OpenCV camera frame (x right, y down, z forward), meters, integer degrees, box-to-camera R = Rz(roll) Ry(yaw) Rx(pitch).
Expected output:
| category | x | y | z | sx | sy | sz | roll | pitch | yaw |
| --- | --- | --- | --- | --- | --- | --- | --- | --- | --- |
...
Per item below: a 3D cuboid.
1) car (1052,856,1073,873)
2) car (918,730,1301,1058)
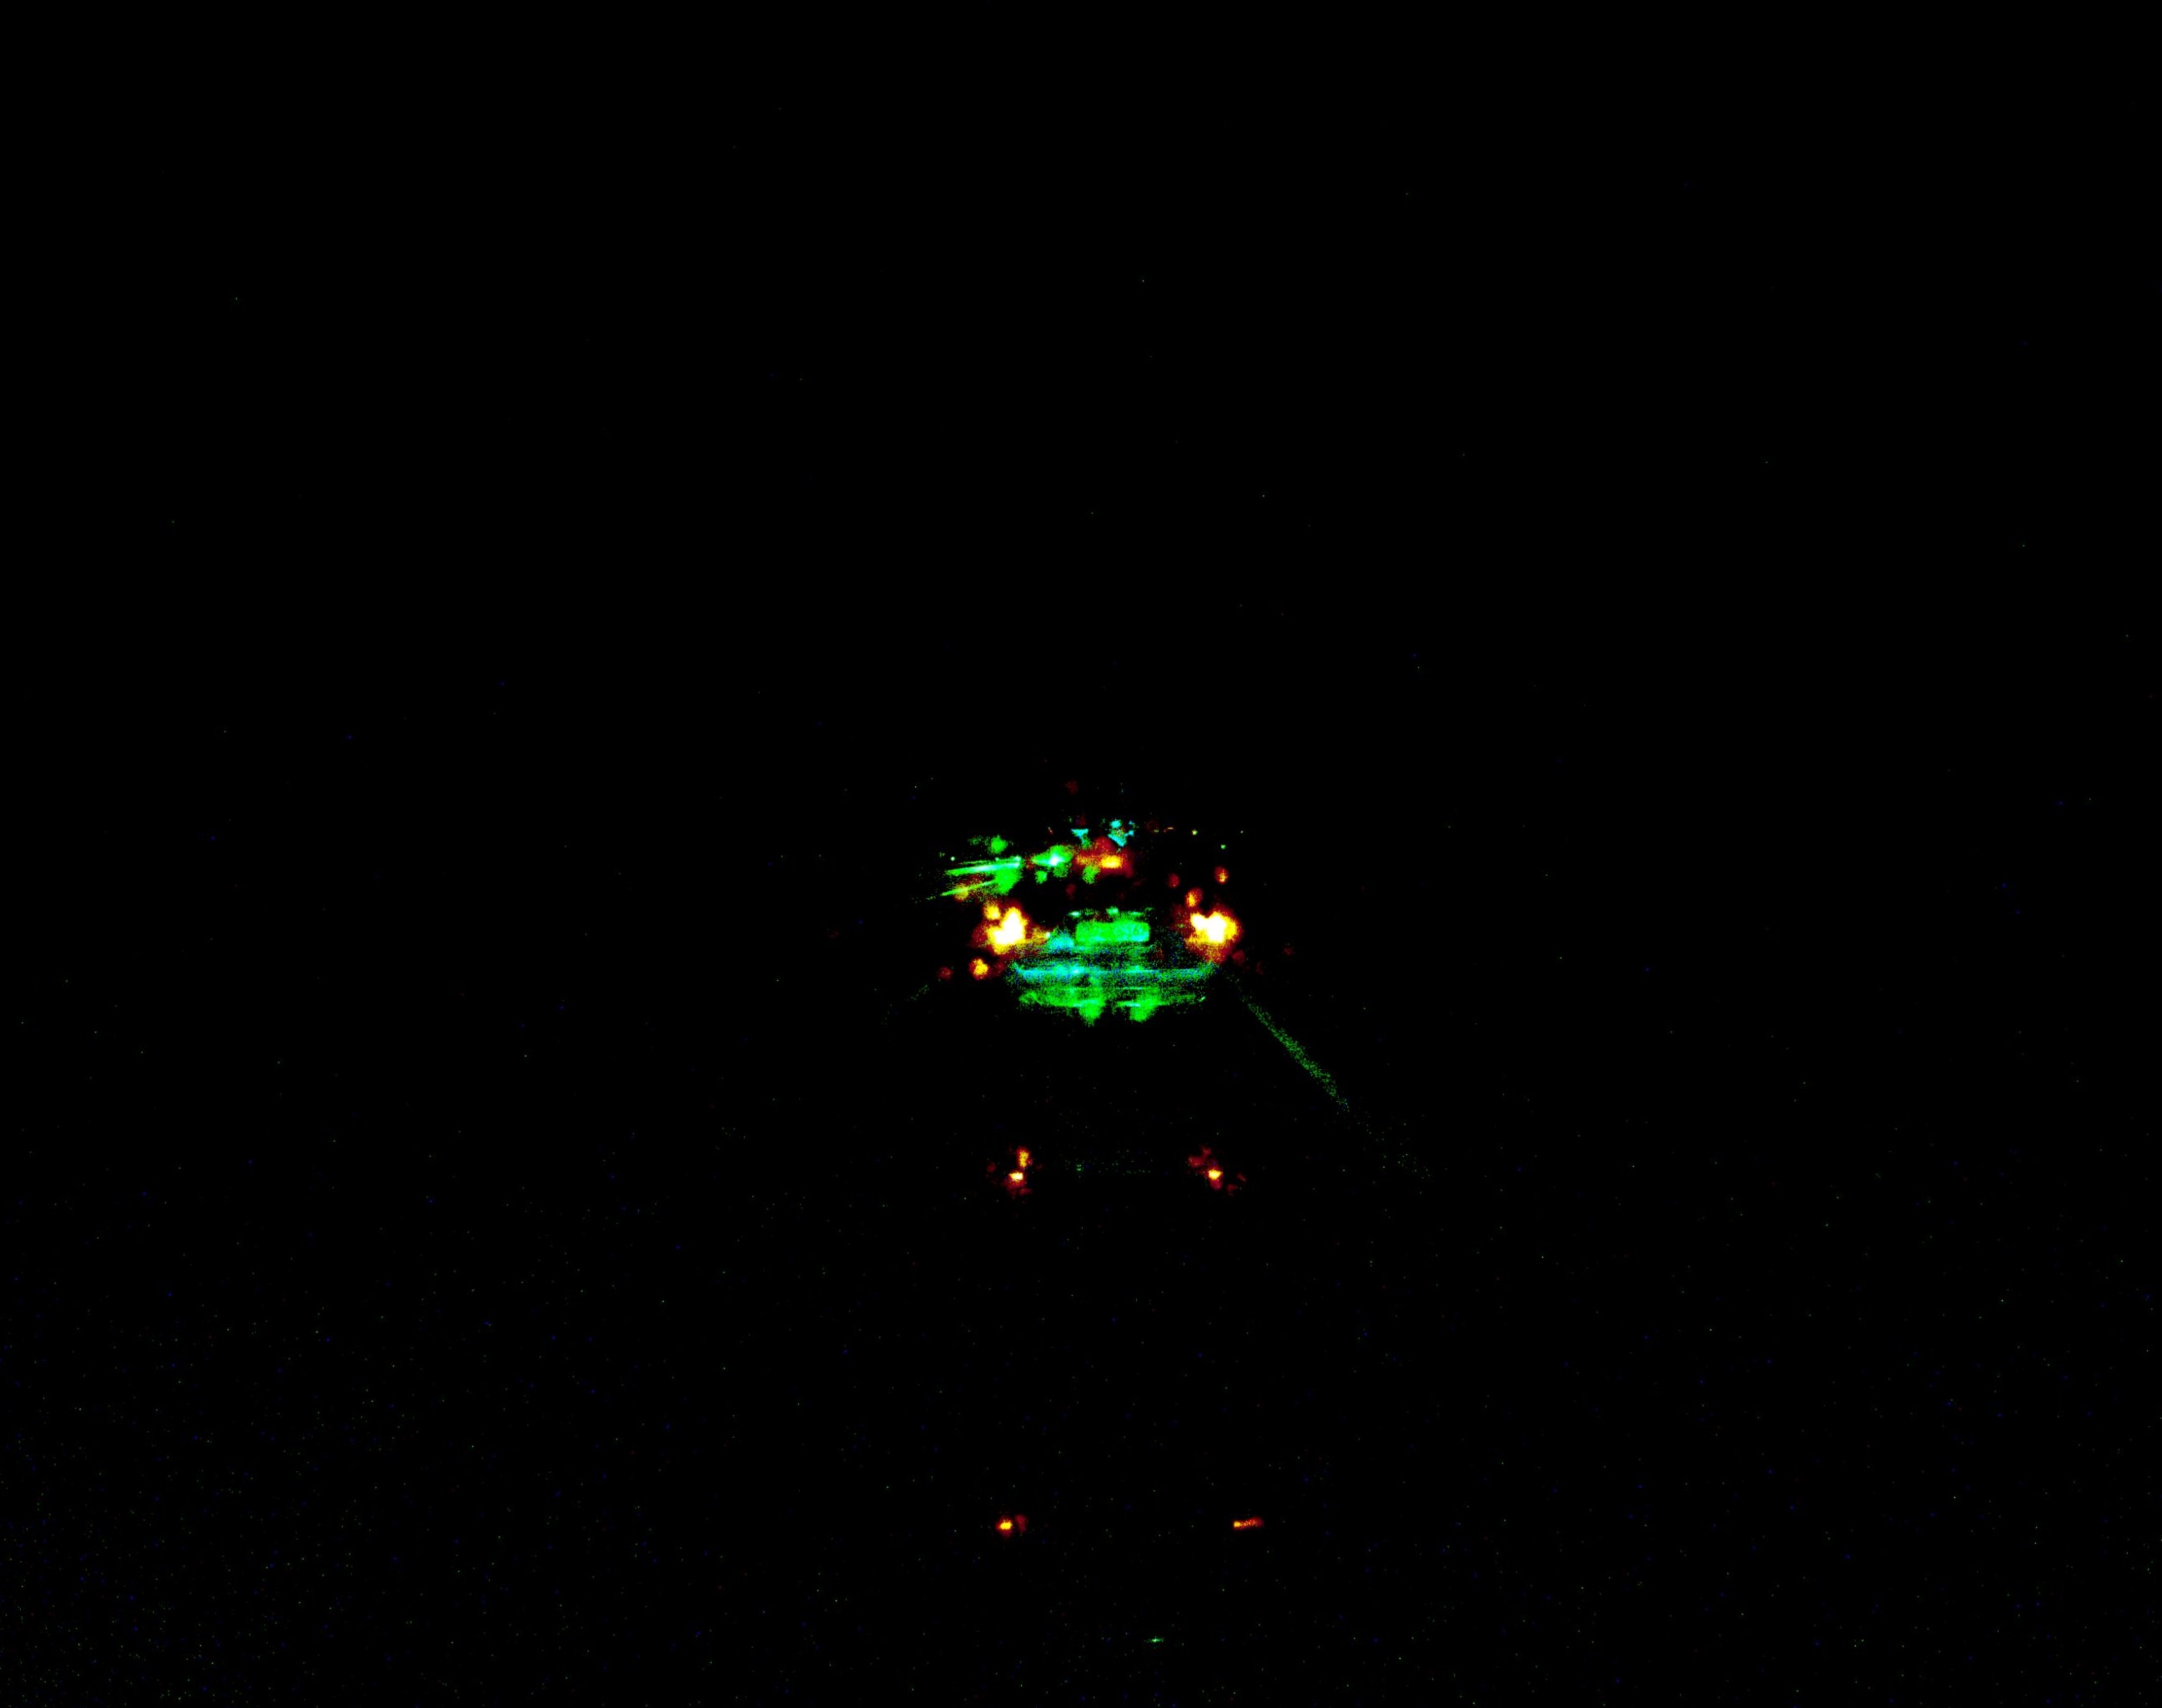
| category | x | y | z | sx | sy | sz | roll | pitch | yaw |
| --- | --- | --- | --- | --- | --- | --- | --- | --- | --- |
| car | -1.665 | 0.905 | 75.206 | 1.537 | 1.510 | 3.884 | -1 | 0 | 4 |
| car | 0.291 | 0.281 | 8.880 | 2.705 | 2.307 | 6.103 | -1 | 0 | 2 |
